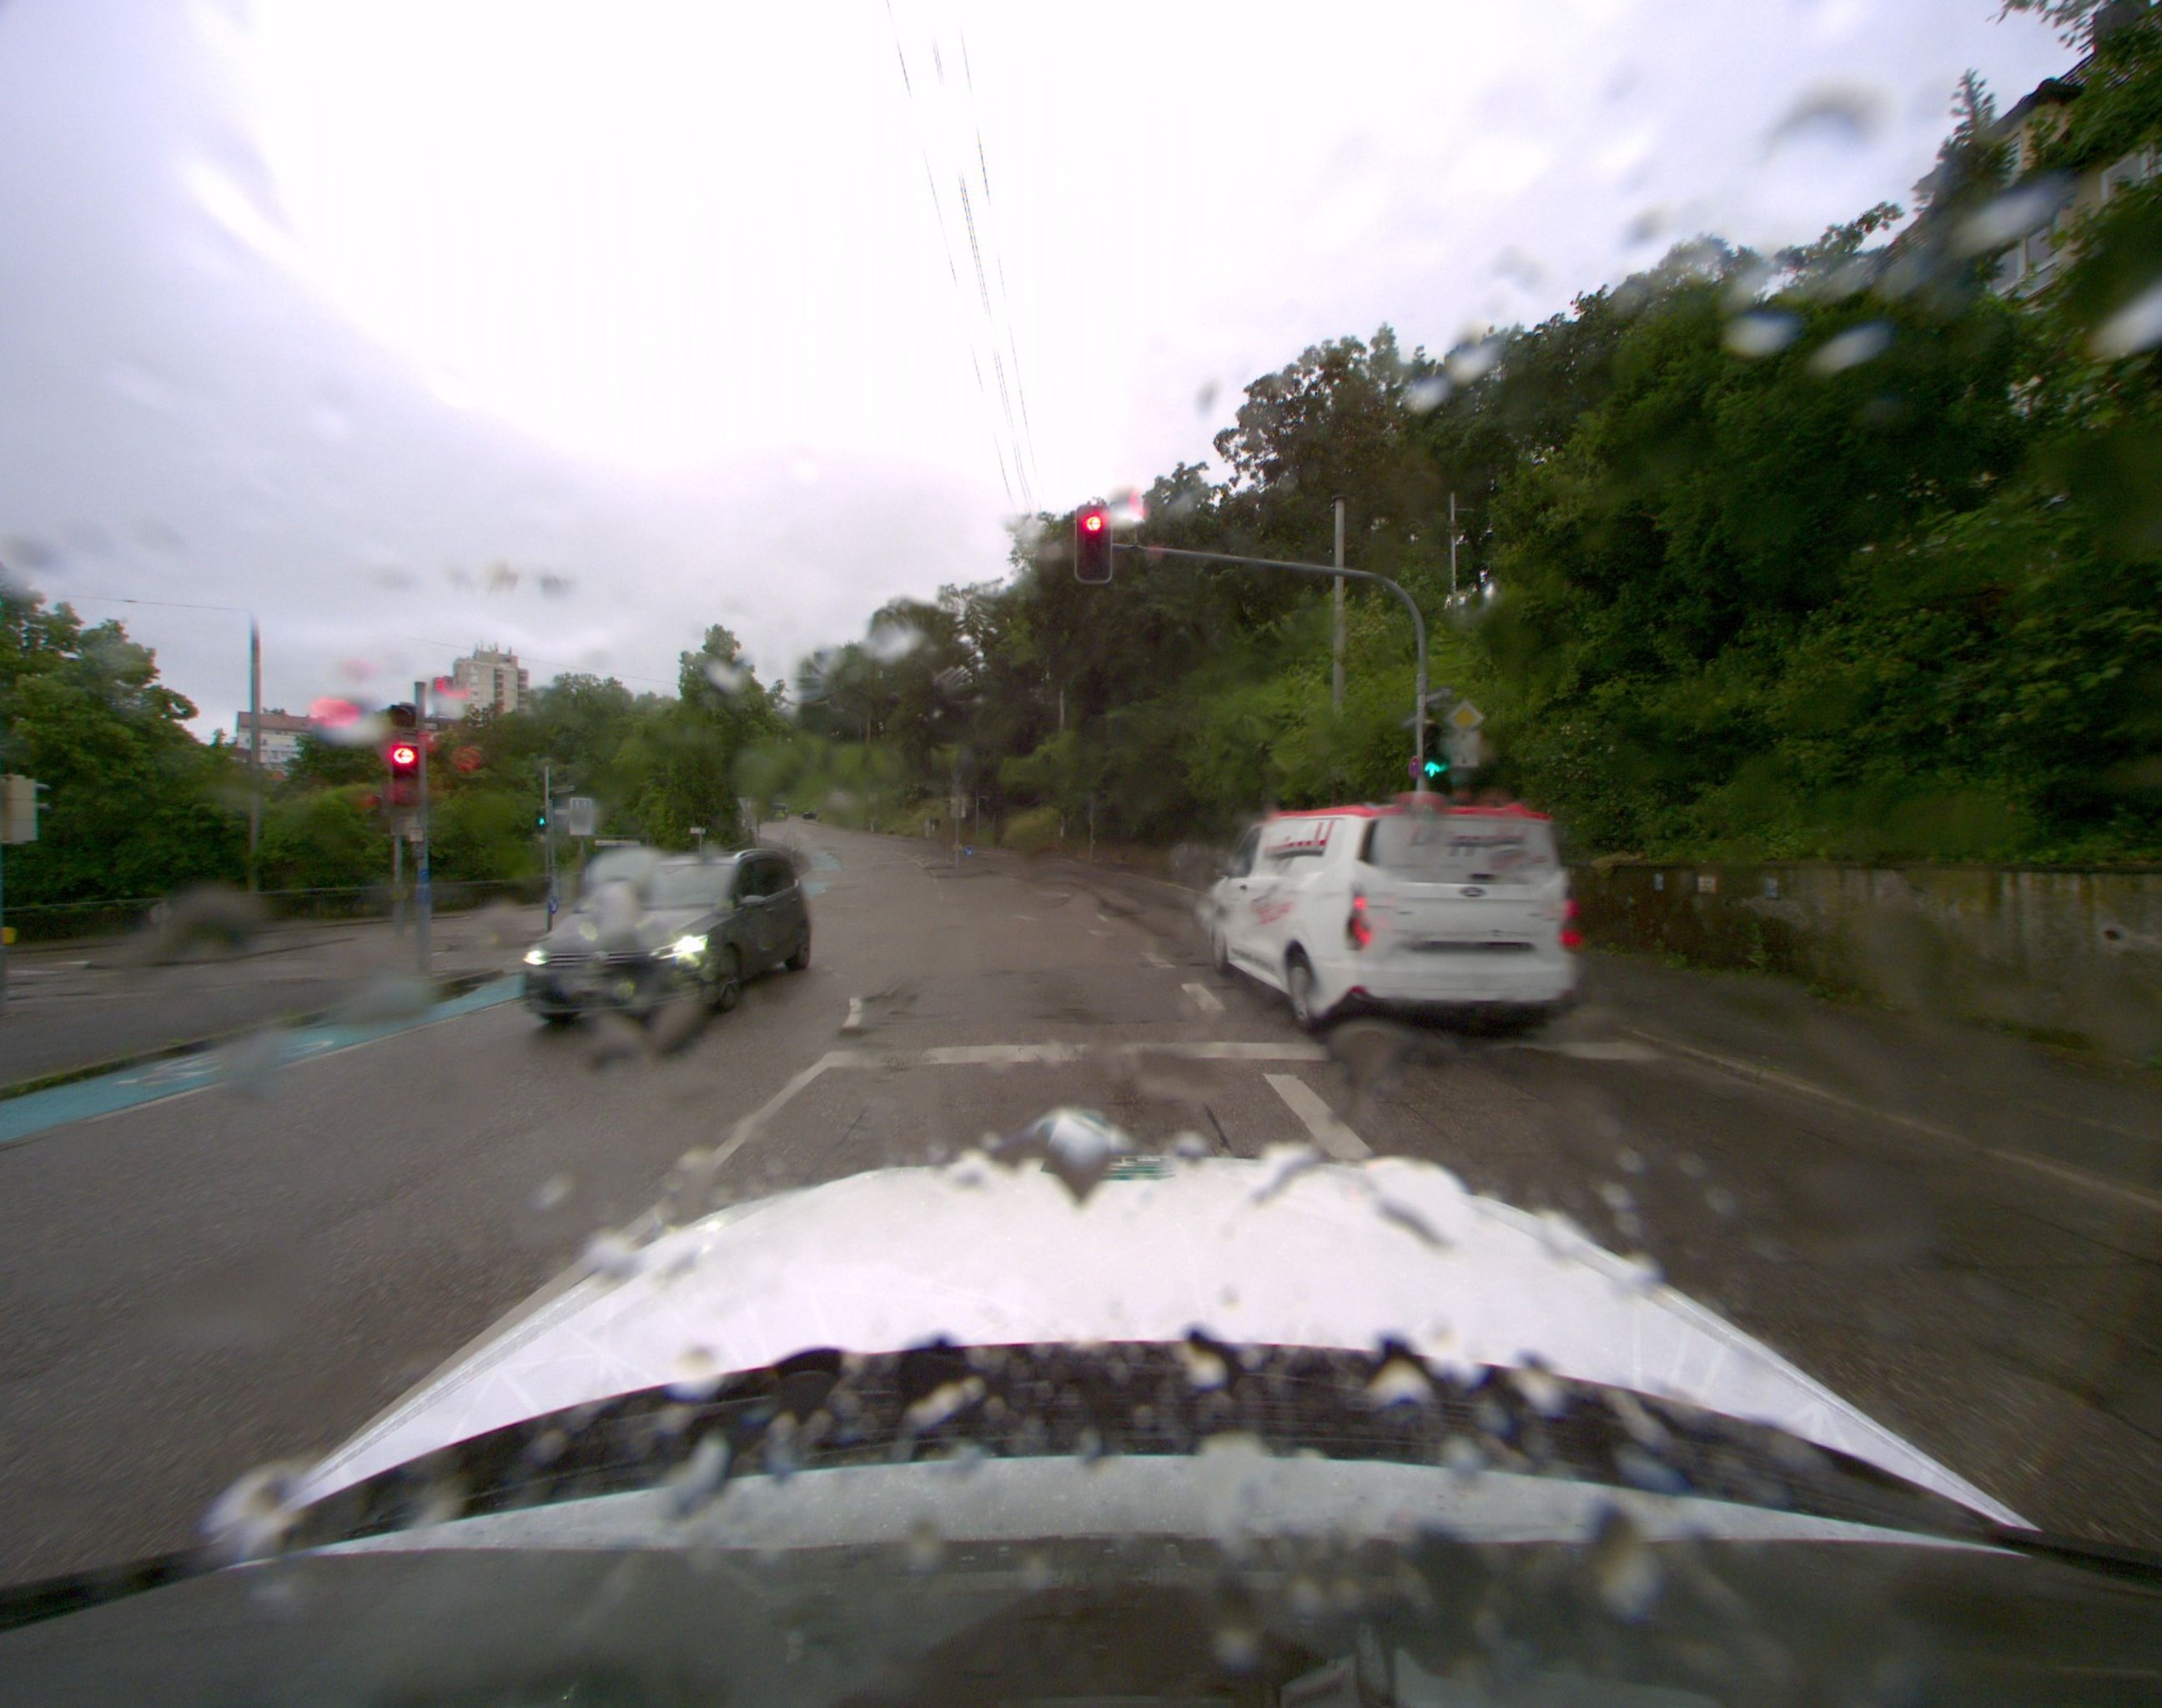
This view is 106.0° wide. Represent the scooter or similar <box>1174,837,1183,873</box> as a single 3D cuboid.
[{"bbox_3d":[3.627,0.042,30.257,0.320,1.279,0.753,-1,3,7],"label":"scooter or similar"}]

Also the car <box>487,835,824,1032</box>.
[{"bbox_3d":[-4.490,0.684,9.450,1.845,1.680,4.167,-3,1,-4],"label":"car"}]

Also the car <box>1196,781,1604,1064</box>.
[{"bbox_3d":[2.667,0.450,8.295,2.061,2.006,4.809,-1,1,-3],"label":"car"}]

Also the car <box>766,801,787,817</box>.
[{"bbox_3d":[-34.252,-5.032,91.595,1.928,1.780,3.967,0,2,-26],"label":"car"}]

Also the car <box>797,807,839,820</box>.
[{"bbox_3d":[-31.311,-4.775,97.092,4.360,1.511,1.970,1,3,12],"label":"car"}]

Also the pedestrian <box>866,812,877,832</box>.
[{"bbox_3d":[-18.027,-2.757,70.106,0.883,1.736,0.860,-1,-1,-18],"label":"pedestrian"}]
